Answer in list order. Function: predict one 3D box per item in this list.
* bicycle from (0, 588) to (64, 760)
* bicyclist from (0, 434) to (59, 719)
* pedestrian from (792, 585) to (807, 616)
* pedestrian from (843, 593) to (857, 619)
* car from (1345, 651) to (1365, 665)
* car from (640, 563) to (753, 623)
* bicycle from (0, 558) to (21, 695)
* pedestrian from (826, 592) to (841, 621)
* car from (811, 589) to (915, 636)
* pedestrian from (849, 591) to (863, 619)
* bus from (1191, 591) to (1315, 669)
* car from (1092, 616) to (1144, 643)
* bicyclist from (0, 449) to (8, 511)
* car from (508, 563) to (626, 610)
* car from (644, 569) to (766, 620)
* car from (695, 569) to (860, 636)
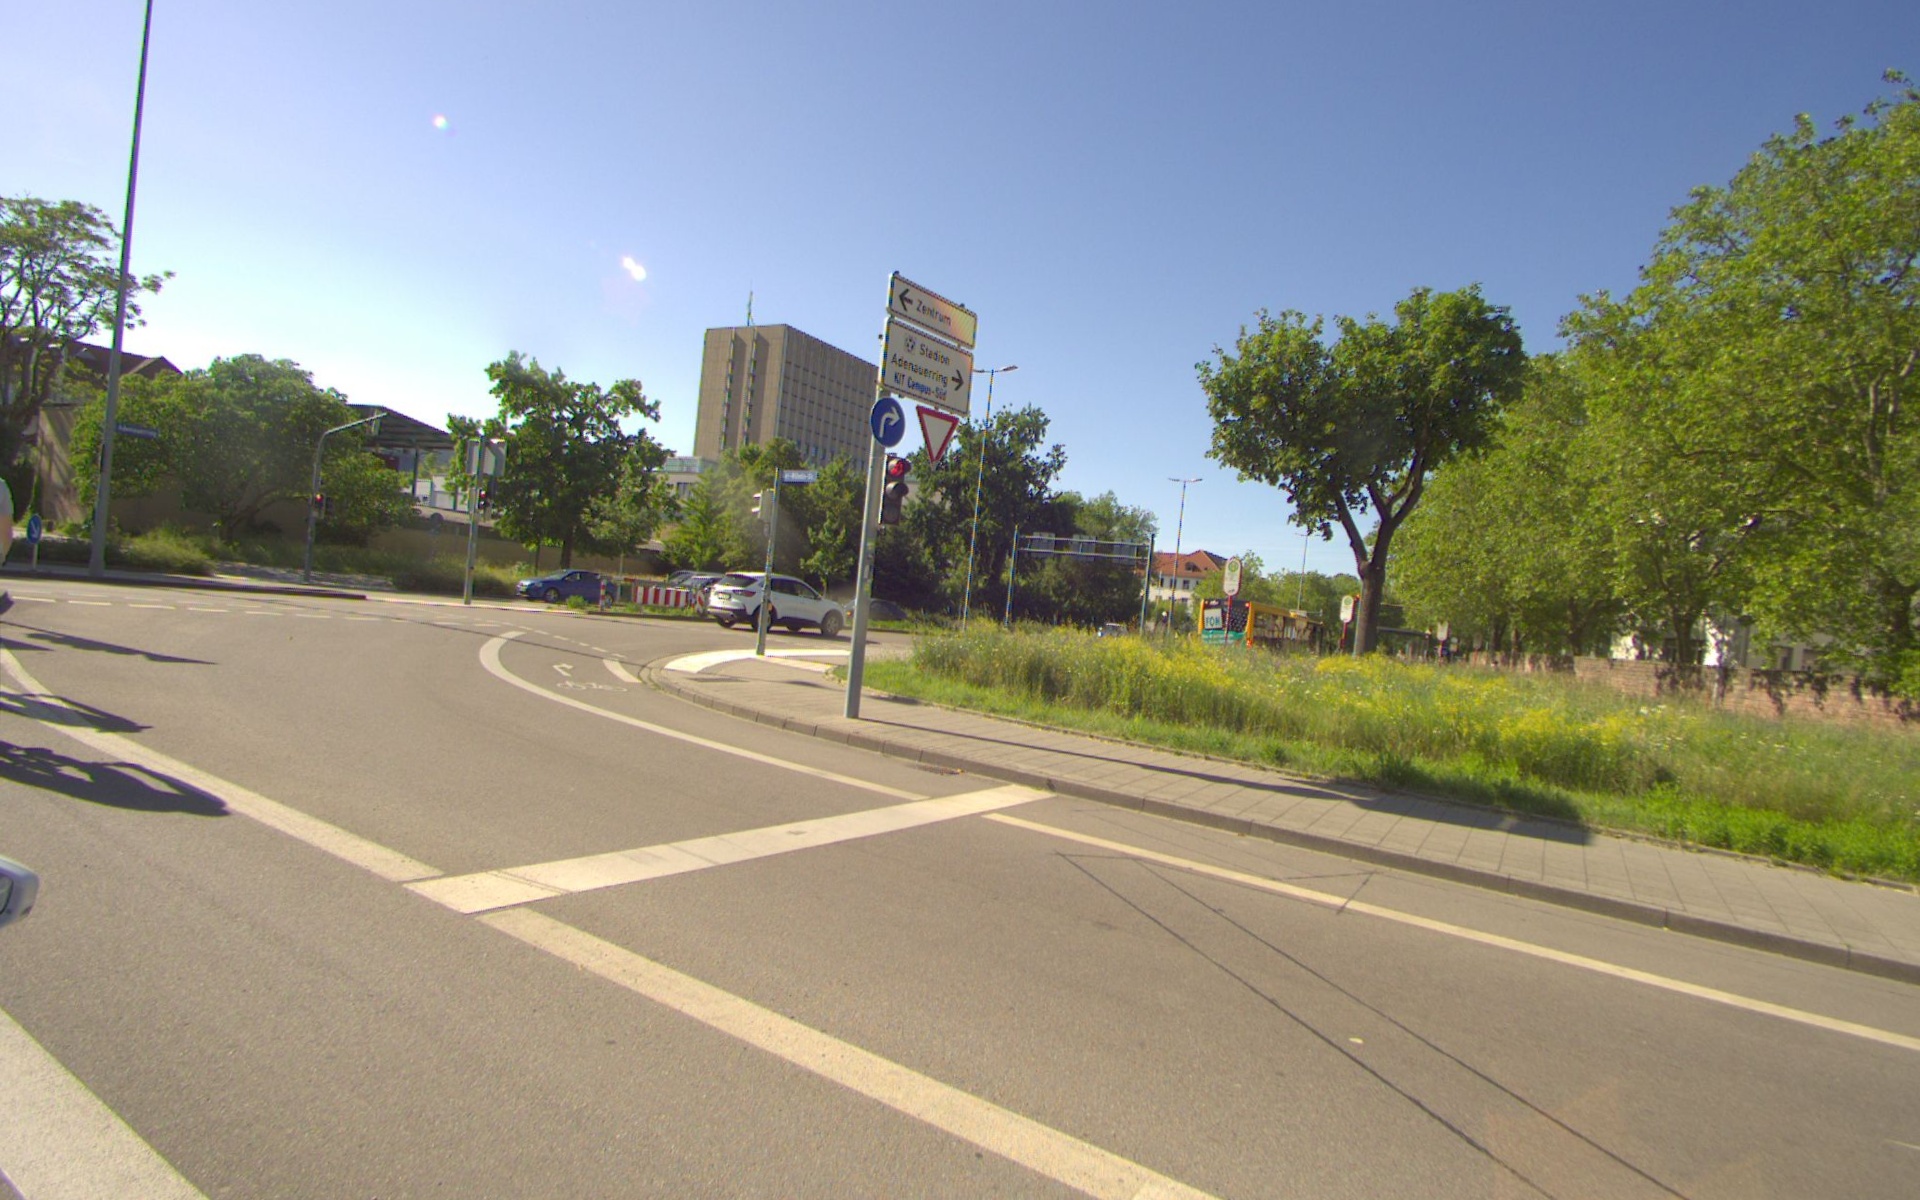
[{"bbox_3d":[-6.295,0.352,6.090,1.946,0.906,0.741,6,-2,33],"label":"bicycle"},{"bbox_3d":[-6.223,-0.194,6.090,1.000,1.688,0.752,6,-1,33],"label":"bicyclist"},{"bbox_3d":[-9.869,0.035,61.815,0.519,1.801,0.561,7,1,35],"label":"pedestrian"},{"bbox_3d":[-7.359,0.398,67.200,0.519,1.716,0.561,7,1,35],"label":"pedestrian"},{"bbox_3d":[48.536,7.150,123.578,1.812,1.405,4.066,4,-2,27],"label":"car"},{"bbox_3d":[-12.310,-0.276,47.330,1.968,2.131,4.885,6,-2,34],"label":"car"},{"bbox_3d":[-8.203,0.086,7.774,1.935,1.014,0.661,6,-1,26],"label":"bicycle"},{"bbox_3d":[-8.208,0.400,65.410,0.519,1.801,0.561,7,1,35],"label":"pedestrian"},{"bbox_3d":[-4.250,0.586,44.799,1.968,1.604,4.736,6,0,33],"label":"car"},{"bbox_3d":[-6.904,0.338,66.784,0.519,1.801,0.561,7,1,35],"label":"pedestrian"},{"bbox_3d":[14.312,1.582,48.426,2.751,2.662,10.097,6,-2,33],"label":"bus"},{"bbox_3d":[11.751,2.204,74.692,1.968,1.547,4.473,6,0,34],"label":"car"},{"bbox_3d":[-8.137,-0.375,7.779,1.048,1.759,0.647,7,-1,26],"label":"bicyclist"},{"bbox_3d":[-16.091,-0.517,41.339,1.717,1.453,4.162,7,0,38],"label":"car"},{"bbox_3d":[-9.432,-0.193,37.429,1.840,1.426,4.046,6,0,38],"label":"car"},{"bbox_3d":[-5.268,0.124,29.549,1.818,1.639,4.681,3,-1,38],"label":"car"}]
